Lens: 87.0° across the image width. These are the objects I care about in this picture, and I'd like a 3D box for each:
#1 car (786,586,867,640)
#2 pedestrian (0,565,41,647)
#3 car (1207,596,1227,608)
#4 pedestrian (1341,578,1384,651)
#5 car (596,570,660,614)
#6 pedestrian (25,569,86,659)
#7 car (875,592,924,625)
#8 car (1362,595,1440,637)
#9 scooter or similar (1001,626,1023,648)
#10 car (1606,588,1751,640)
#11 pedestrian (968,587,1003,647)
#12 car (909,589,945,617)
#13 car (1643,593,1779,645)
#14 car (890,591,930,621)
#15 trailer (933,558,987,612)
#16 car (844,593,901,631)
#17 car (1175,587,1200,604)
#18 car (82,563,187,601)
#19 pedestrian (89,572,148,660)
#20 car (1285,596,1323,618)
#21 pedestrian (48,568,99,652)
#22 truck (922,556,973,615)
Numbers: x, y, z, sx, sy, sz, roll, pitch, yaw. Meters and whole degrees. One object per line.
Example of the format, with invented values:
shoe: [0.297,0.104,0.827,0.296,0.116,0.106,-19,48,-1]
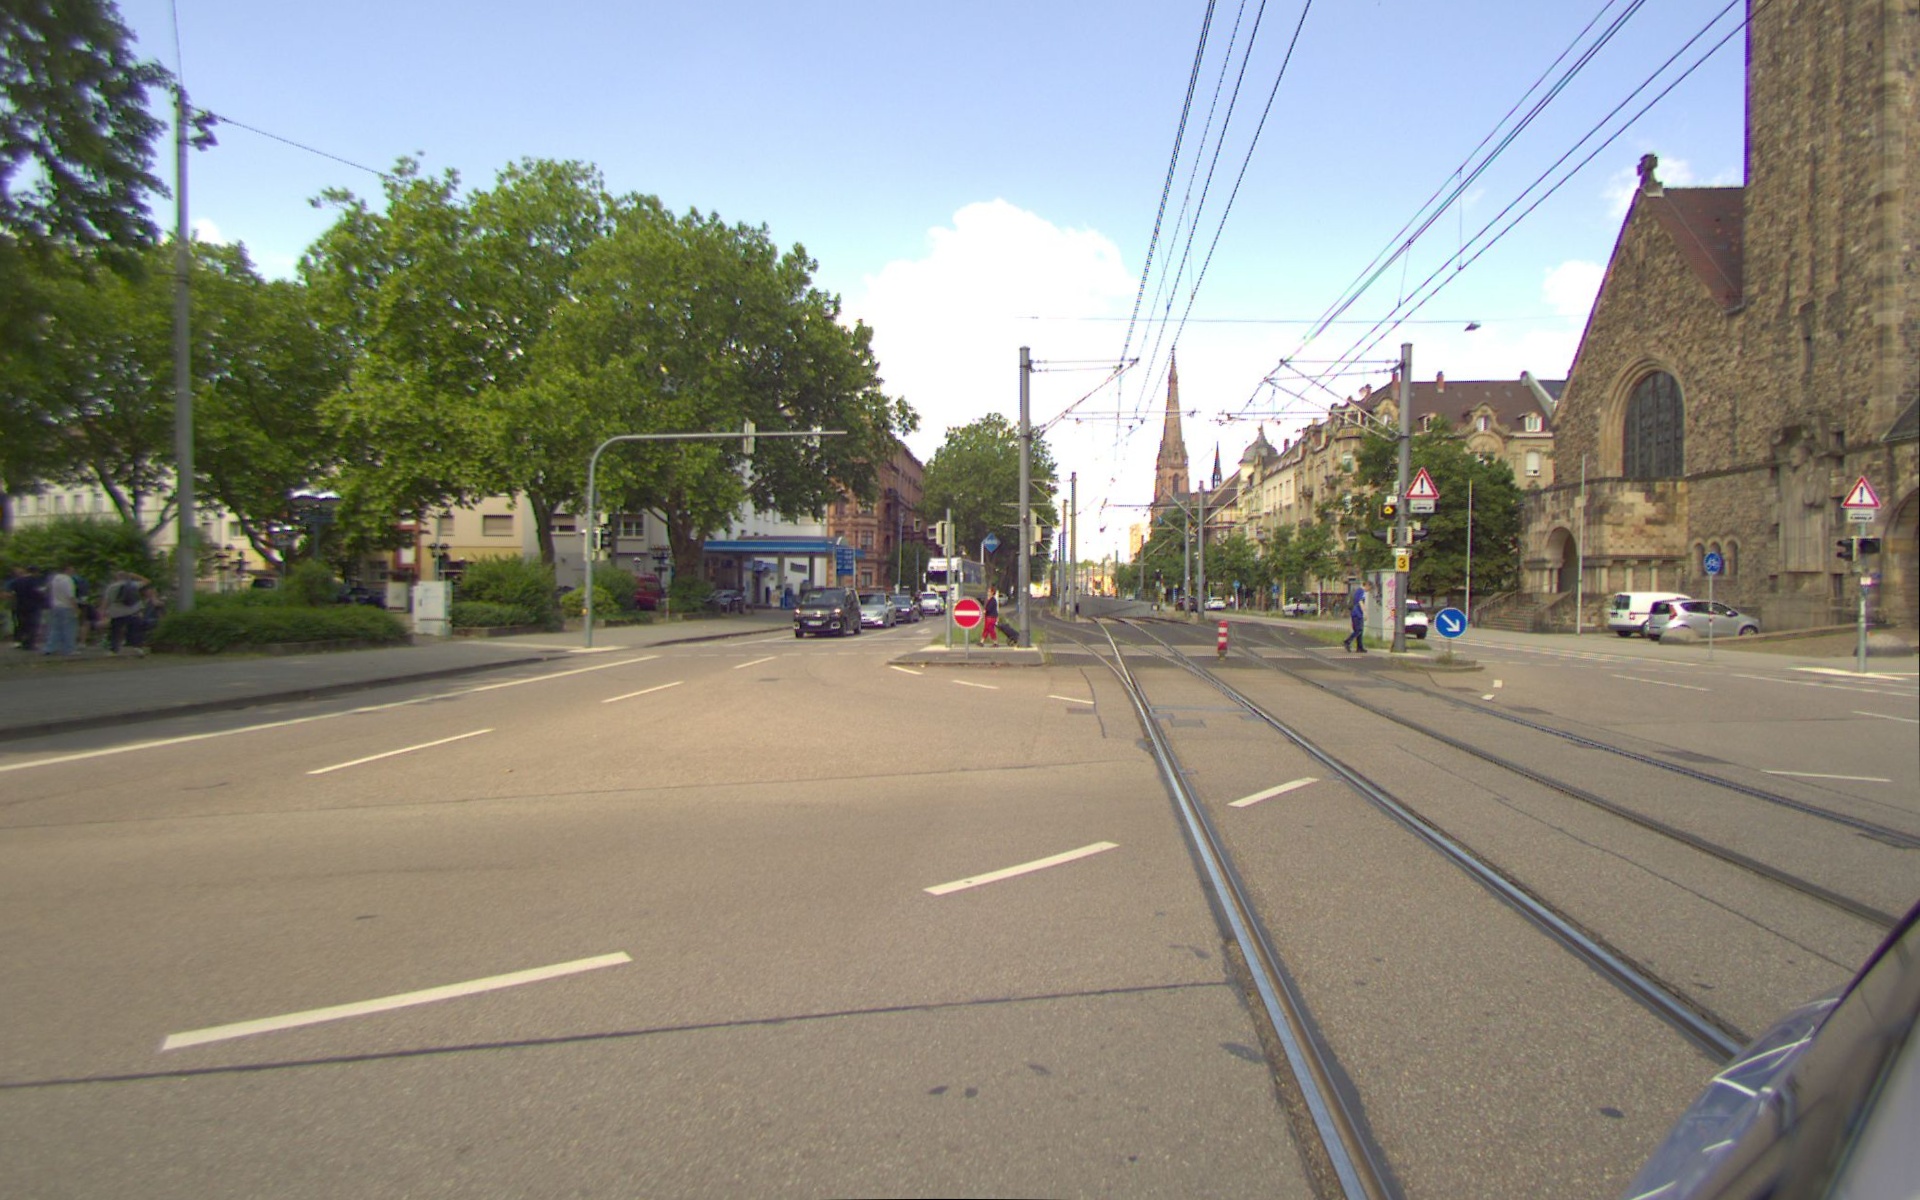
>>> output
car: [-4.711,0.399,36.356,1.823,1.748,4.411,1,1,7]
pedestrian: [-20.650,0.119,22.109,0.593,1.772,0.700,1,1,-18]
car: [27.693,0.168,109.091,1.627,1.249,3.059,1,0,6]
pedestrian: [9.814,0.341,24.704,0.759,1.753,0.743,1,0,5]
car: [-19.209,-0.494,58.717,2.076,2.450,3.994,1,1,6]
pedestrian: [-18.248,0.269,20.431,0.678,1.786,0.671,1,0,-18]
car: [-3.060,0.407,51.568,1.823,1.464,3.967,1,2,7]
car: [17.179,0.596,39.620,1.790,1.525,4.120,1,0,9]
scooter or similar: [1.352,0.957,26.294,0.511,0.542,0.311,3,0,-7]
car: [28.795,0.549,40.670,4.230,1.877,1.997,2,0,6]
pedestrian: [0.645,0.433,26.028,0.760,1.510,0.659,2,0,-7]
car: [-2.184,0.171,67.544,1.823,1.727,4.127,1,1,6]
car: [27.681,0.698,37.389,3.571,1.700,1.817,3,-1,3]
car: [-2.794,0.306,57.293,1.657,1.582,3.747,1,1,6]
trailer: [0.164,-1.272,83.011,2.869,4.128,11.626,1,1,8]
car: [-3.763,0.485,44.321,1.704,1.484,4.321,1,1,6]
car: [21.673,-0.437,96.396,1.754,1.554,4.379,2,1,6]
car: [-40.957,-0.906,50.256,3.932,1.822,1.866,1,1,8]
pedestrian: [-17.019,0.321,20.485,0.678,1.744,0.721,1,1,-18]
car: [24.639,0.479,72.655,1.758,1.514,3.831,0,0,6]
pedestrian: [-19.083,0.199,21.797,0.593,1.772,0.700,1,1,-18]
truck: [-0.877,-1.106,75.488,2.868,4.201,6.578,1,1,8]
